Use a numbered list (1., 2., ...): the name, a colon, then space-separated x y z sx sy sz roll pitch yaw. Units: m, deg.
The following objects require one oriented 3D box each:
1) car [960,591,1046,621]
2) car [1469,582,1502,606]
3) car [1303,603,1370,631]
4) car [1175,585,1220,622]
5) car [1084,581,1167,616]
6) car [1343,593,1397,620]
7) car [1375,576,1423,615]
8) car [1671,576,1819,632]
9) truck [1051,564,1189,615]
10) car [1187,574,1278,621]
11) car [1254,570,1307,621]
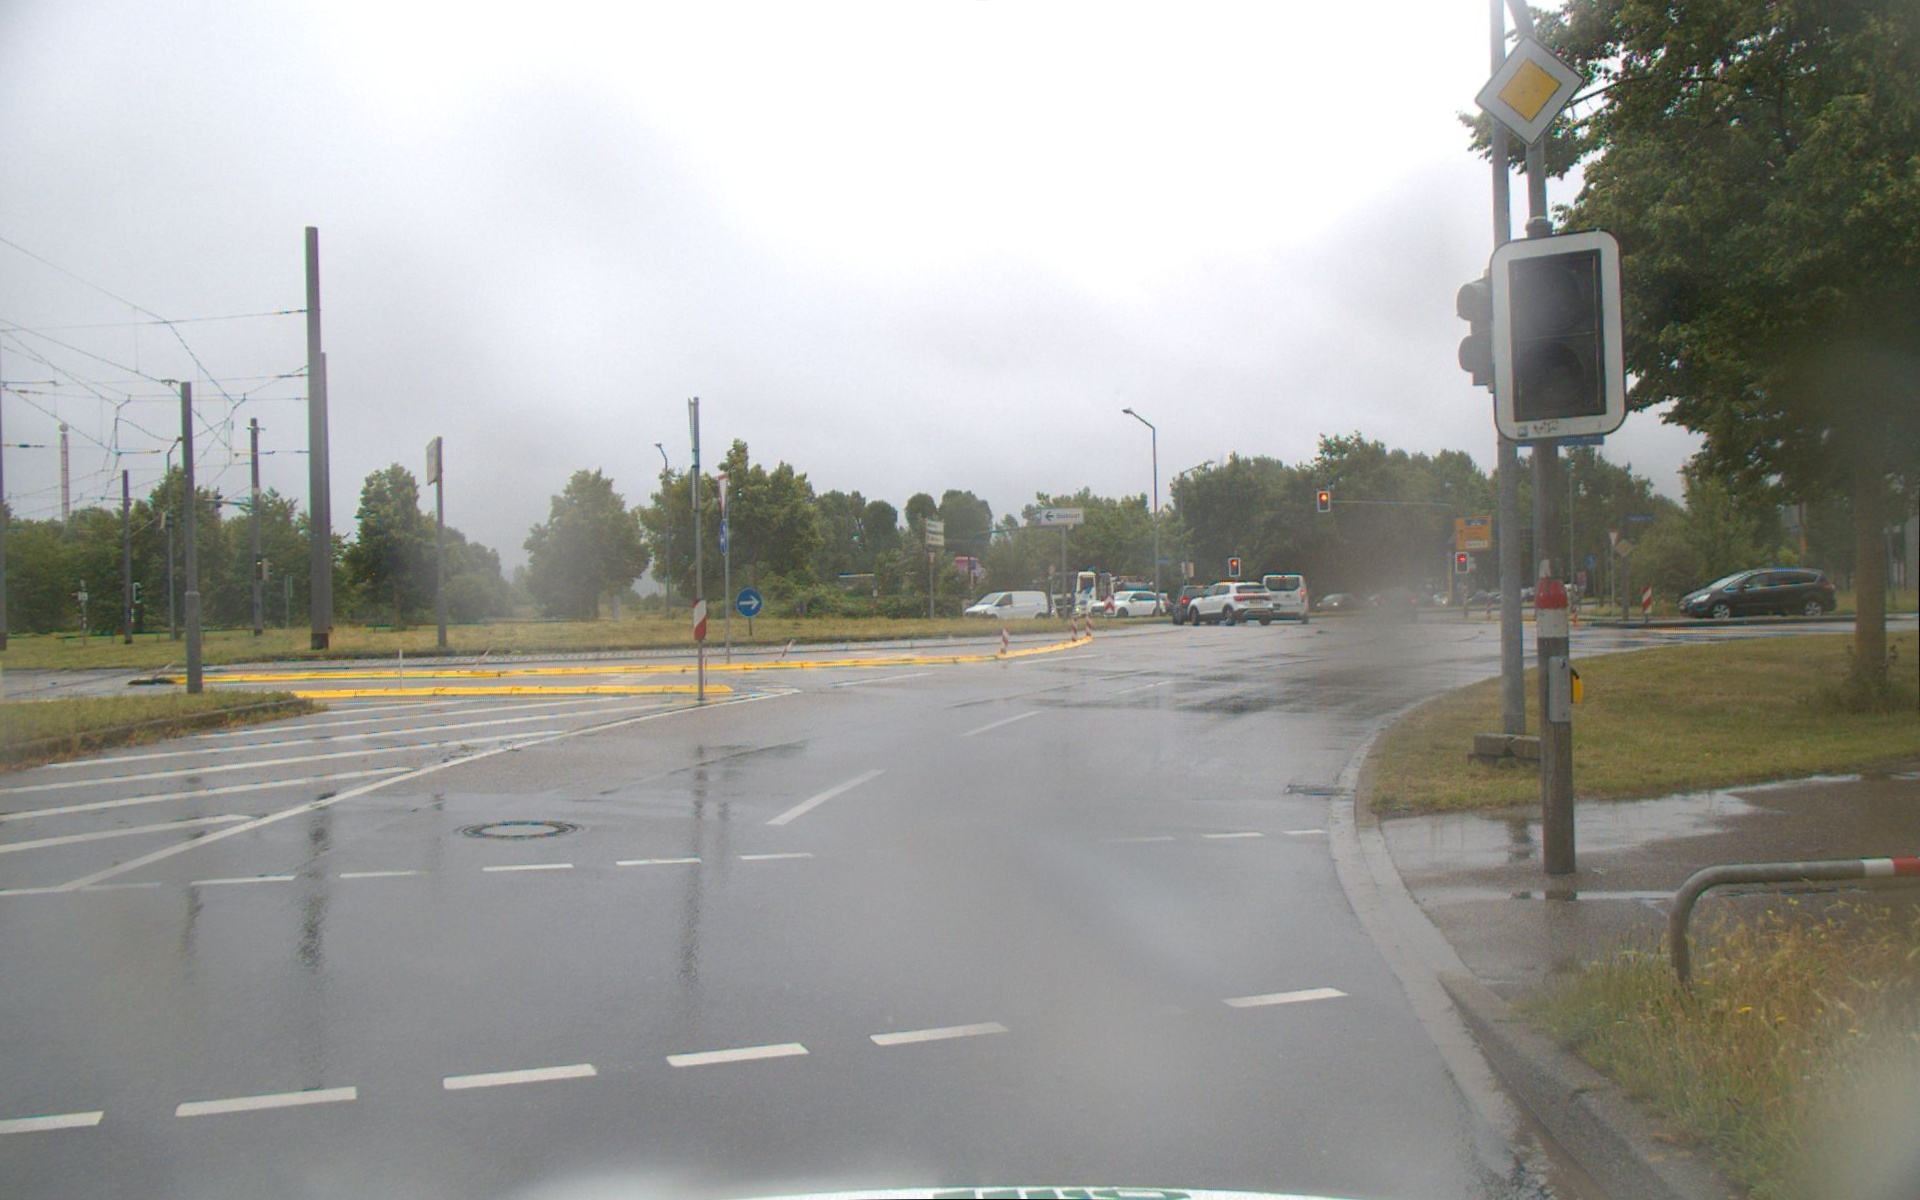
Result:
1. car: 2.308 0.304 87.932 4.495 1.518 1.592 1 0 -35
2. car: 45.971 -0.504 144.659 1.758 2.049 3.659 1 0 36
3. car: 24.563 1.114 107.744 4.821 1.774 1.752 1 0 -41
4. car: 10.136 0.149 70.794 1.653 1.518 3.253 1 0 4
5. car: 8.912 -0.062 88.786 4.829 1.774 1.749 1 -1 -44
6. car: 27.979 0.435 112.909 1.965 1.780 3.975 1 0 42
7. car: 18.086 -0.200 68.182 1.652 1.518 3.254 -1 0 11
8. car: 24.948 0.123 52.670 3.902 1.676 1.790 1 0 8
9. truck: 9.480 -0.578 97.407 8.680 2.759 1.979 1 -1 -31
10. car: 10.145 -0.094 61.782 1.656 1.676 3.924 1 0 -20
11. car: 13.494 -0.179 69.815 1.746 2.072 4.002 1 0 4
